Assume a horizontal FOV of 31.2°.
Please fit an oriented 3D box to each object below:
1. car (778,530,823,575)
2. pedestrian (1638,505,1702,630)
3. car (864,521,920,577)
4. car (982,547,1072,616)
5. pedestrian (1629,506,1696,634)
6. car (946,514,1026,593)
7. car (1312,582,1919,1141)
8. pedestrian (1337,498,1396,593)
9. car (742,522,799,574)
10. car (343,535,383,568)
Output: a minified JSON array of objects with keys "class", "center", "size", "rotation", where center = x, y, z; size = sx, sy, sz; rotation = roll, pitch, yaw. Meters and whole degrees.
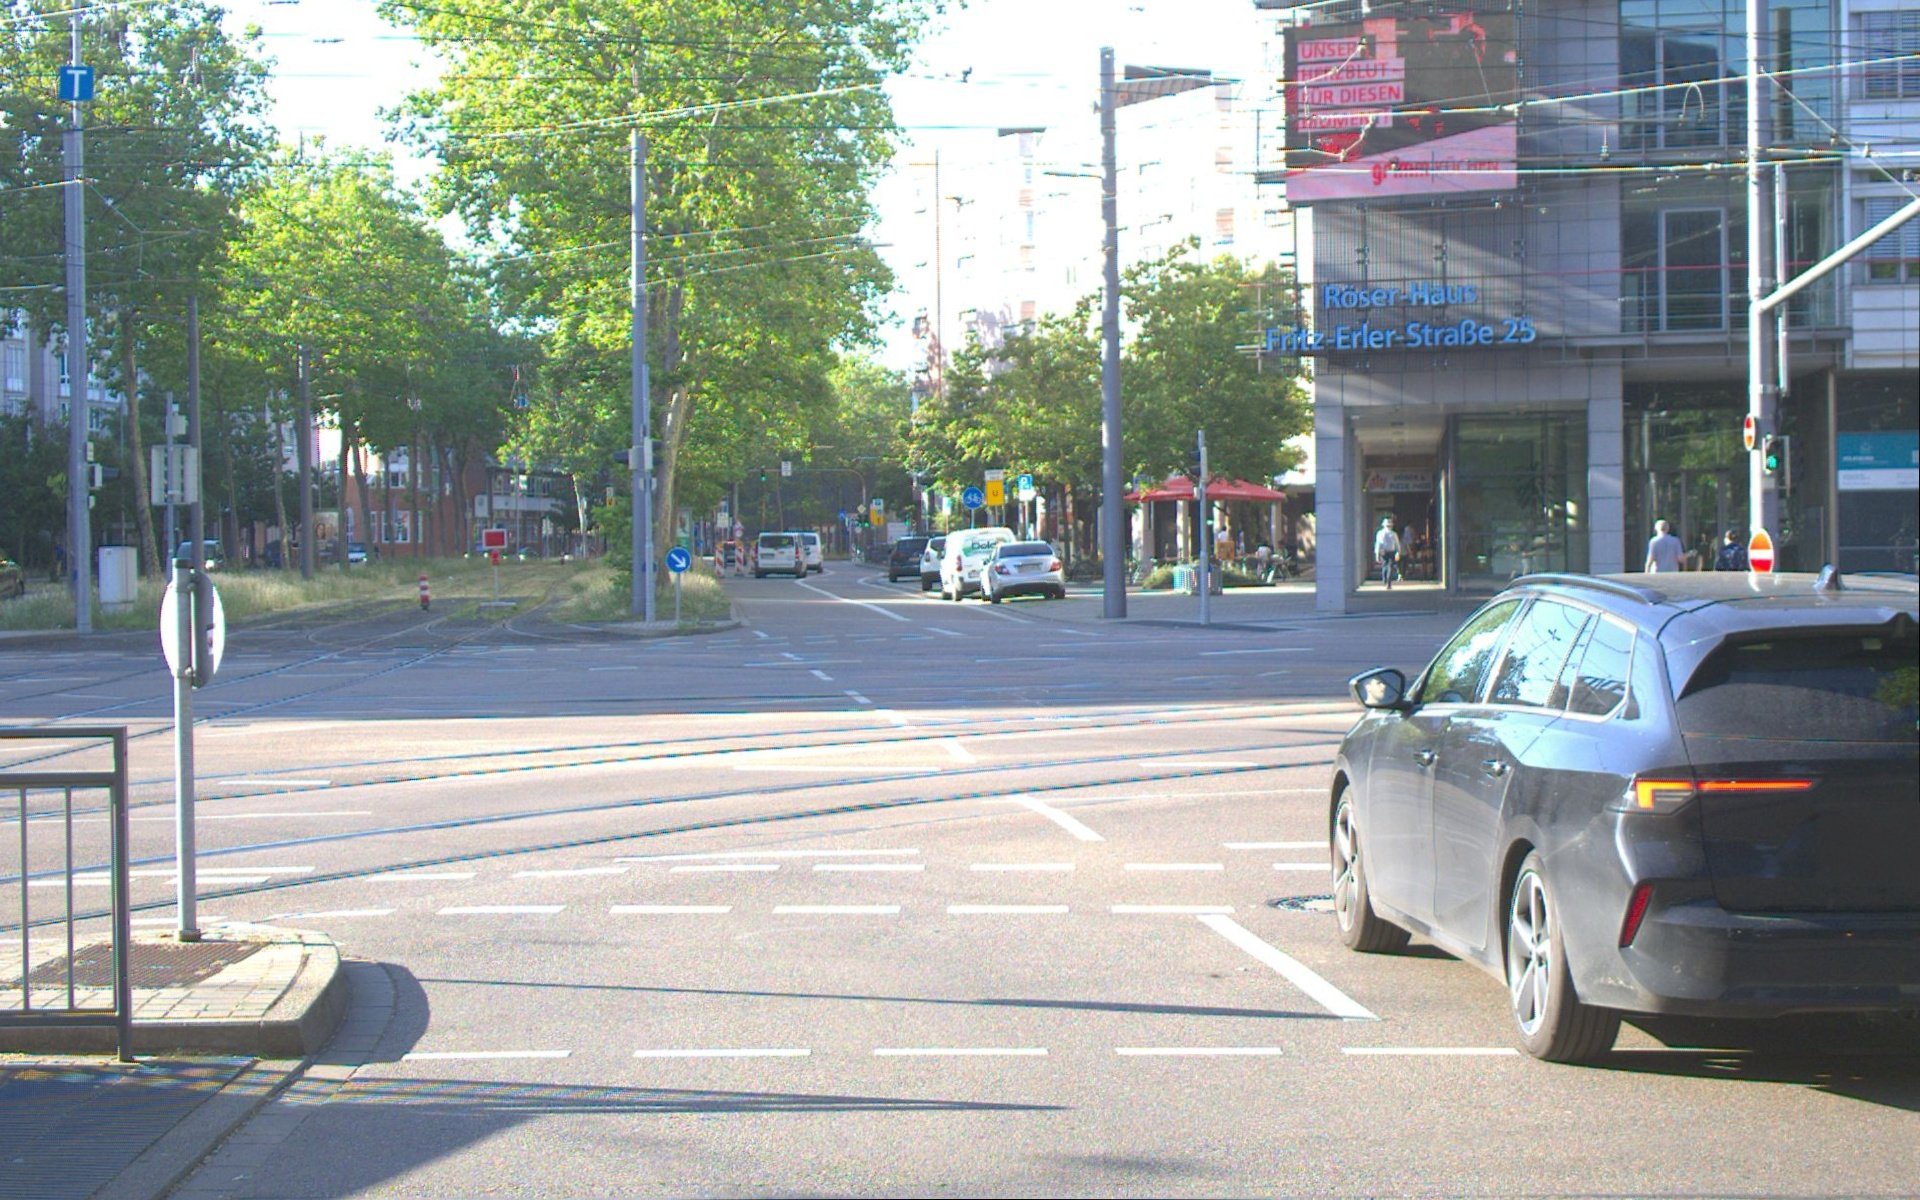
[{"class":"car","center":[-7.263,-2.165,156.958],"size":[1.993,2.007,4.000],"rotation":[1,1,-2]},{"class":"pedestrian","center":[11.533,-0.527,55.864],"size":[0.849,2.007,0.708],"rotation":[1,0,-1]},{"class":"car","center":[-2.496,-1.866,126.620],"size":[1.993,2.007,4.000],"rotation":[1,1,-1]},{"class":"car","center":[1.592,-0.445,82.795],"size":[2.029,1.590,4.000],"rotation":[1,1,-1]},{"class":"pedestrian","center":[11.128,-0.480,54.474],"size":[0.869,2.007,0.794],"rotation":[1,0,-1]},{"class":"car","center":[0.650,-1.207,89.633],"size":[1.993,2.007,4.000],"rotation":[1,1,-1]},{"class":"car","center":[2.398,0.670,11.136],"size":[1.763,1.399,4.297],"rotation":[0,1,-4]},{"class":"pedestrian","center":[9.504,-1.273,80.407],"size":[1.313,2.182,1.170],"rotation":[1,0,6]},{"class":"car","center":[-7.654,-2.092,139.219],"size":[1.993,2.007,4.000],"rotation":[1,0,1]},{"class":"car","center":[-29.760,-2.436,171.381],"size":[1.676,1.601,4.001],"rotation":[1,1,-6]}]
